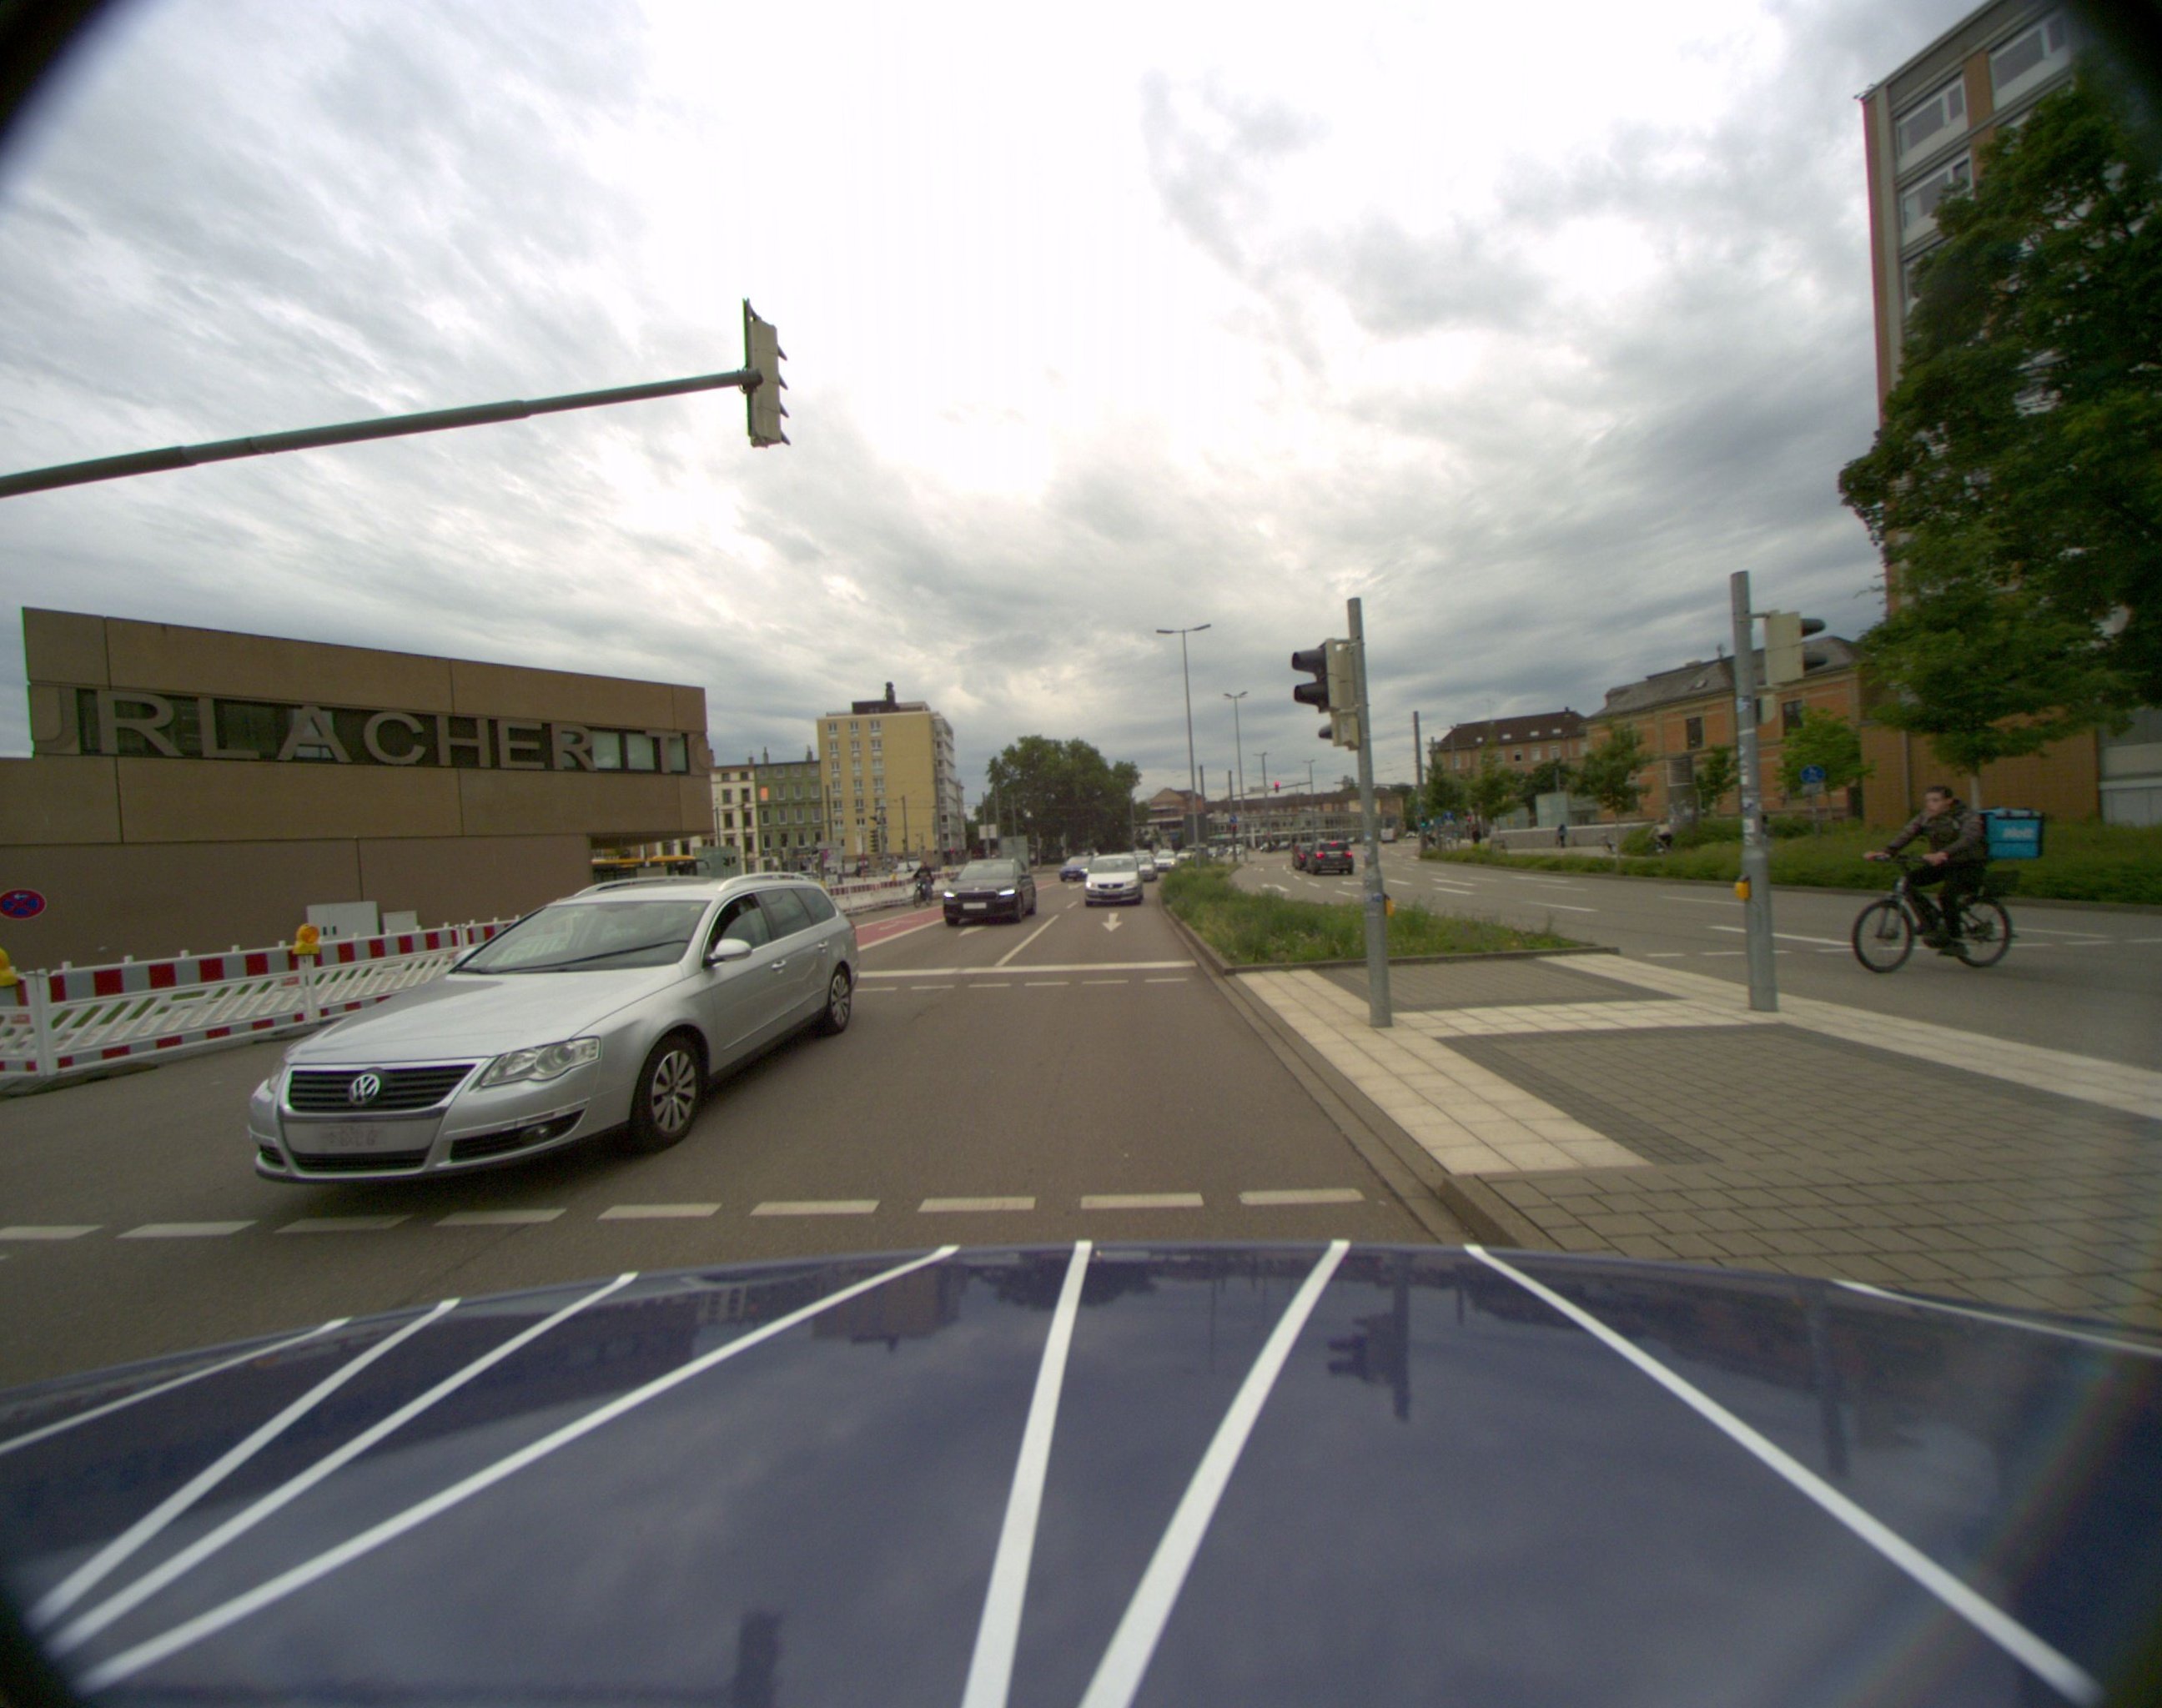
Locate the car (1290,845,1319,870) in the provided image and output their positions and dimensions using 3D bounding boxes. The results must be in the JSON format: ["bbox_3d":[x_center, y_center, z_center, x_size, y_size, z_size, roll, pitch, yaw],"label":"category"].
[{"bbox_3d":[14.784,0.200,50.362,1.621,1.506,3.668,-2,0,13],"label":"car"}]

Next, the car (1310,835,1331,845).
[{"bbox_3d":[45.852,-2.740,145.600,2.368,1.744,5.138,-3,0,34],"label":"car"}]

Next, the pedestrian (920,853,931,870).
[{"bbox_3d":[-16.751,0.787,81.826,0.789,1.747,1.047,-3,1,-23],"label":"pedestrian"}]

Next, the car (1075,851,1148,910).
[{"bbox_3d":[1.094,0.776,24.679,1.862,1.609,5.064,-3,0,7],"label":"car"}]

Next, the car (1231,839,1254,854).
[{"bbox_3d":[23.502,-1.061,110.443,1.995,2.002,4.007,-3,0,31],"label":"car"}]

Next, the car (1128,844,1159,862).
[{"bbox_3d":[5.975,-0.085,72.117,1.996,1.499,4.004,-3,0,18],"label":"car"}]

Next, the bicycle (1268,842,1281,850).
[{"bbox_3d":[26.695,-1.117,104.891,1.614,1.064,0.527,-3,1,-9],"label":"bicycle"}]

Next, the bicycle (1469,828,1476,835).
[{"bbox_3d":[61.841,-3.581,120.062,0.753,1.024,2.401,-3,0,30],"label":"bicycle"}]

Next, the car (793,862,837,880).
[{"bbox_3d":[-29.565,1.899,84.538,3.997,1.740,2.000,-4,1,1],"label":"car"}]

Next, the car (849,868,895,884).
[{"bbox_3d":[-23.110,2.417,84.211,4.442,1.477,2.000,-4,1,1],"label":"car"}]

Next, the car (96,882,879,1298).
[{"bbox_3d":[-3.064,1.067,5.428,1.724,1.474,4.629,-2,0,3],"label":"car"}]

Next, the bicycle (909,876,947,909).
[{"bbox_3d":[-5.799,1.447,28.907,0.626,1.049,2.127,-3,1,9],"label":"bicycle"}]

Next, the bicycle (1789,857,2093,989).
[{"bbox_3d":[8.442,0.666,7.550,1.904,1.152,0.792,-3,1,9],"label":"bicycle"}]

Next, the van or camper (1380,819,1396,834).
[{"bbox_3d":[52.513,-4.689,129.935,2.281,2.513,5.581,-2,0,24],"label":"van or camper"}]

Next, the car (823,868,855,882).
[{"bbox_3d":[-30.918,2.709,97.031,3.728,1.573,1.895,-3,1,35],"label":"car"}]

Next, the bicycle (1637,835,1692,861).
[{"bbox_3d":[21.311,-0.221,27.797,0.716,0.877,1.884,-4,1,7],"label":"bicycle"}]

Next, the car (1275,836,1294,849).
[{"bbox_3d":[35.164,-1.926,130.997,1.995,2.002,4.007,-3,0,31],"label":"car"}]

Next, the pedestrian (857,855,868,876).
[{"bbox_3d":[-20.244,1.069,70.456,0.785,1.901,0.902,-4,1,-24],"label":"pedestrian"}]

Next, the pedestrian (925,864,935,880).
[{"bbox_3d":[-15.570,1.862,78.253,0.769,1.602,0.950,-4,1,-24],"label":"pedestrian"}]

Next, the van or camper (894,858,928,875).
[{"bbox_3d":[-22.166,1.586,98.860,2.176,1.967,5.453,-4,0,-38],"label":"van or camper"}]

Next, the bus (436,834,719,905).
[{"bbox_3d":[-28.196,0.704,43.608,3.018,3.249,13.066,-3,0,43],"label":"bus"}]

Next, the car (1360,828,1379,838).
[{"bbox_3d":[64.405,-4.699,169.405,2.368,2.121,5.139,-3,0,40],"label":"car"}]

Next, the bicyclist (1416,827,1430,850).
[{"bbox_3d":[25.898,-1.163,57.537,0.813,1.647,0.794,-4,2,20],"label":"bicyclist"}]

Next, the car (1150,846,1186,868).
[{"bbox_3d":[6.573,0.207,56.926,1.970,1.447,4.197,-3,0,16],"label":"car"}]

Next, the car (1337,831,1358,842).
[{"bbox_3d":[56.345,-3.707,160.465,2.368,1.899,5.139,-3,0,40],"label":"car"}]

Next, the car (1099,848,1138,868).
[{"bbox_3d":[2.939,0.279,58.747,1.767,1.362,4.428,-2,0,20],"label":"car"}]

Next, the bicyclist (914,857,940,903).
[{"bbox_3d":[-5.848,0.979,28.814,0.616,1.680,0.806,-3,0,10],"label":"bicyclist"}]

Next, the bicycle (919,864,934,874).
[{"bbox_3d":[-21.742,2.104,106.884,2.039,1.162,0.669,-3,0,-5],"label":"bicycle"}]

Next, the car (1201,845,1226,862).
[{"bbox_3d":[17.606,-0.120,100.975,1.995,2.002,4.006,-3,0,28],"label":"car"}]

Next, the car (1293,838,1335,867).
[{"bbox_3d":[13.083,-0.115,42.942,1.873,1.499,4.482,-1,1,12],"label":"car"}]

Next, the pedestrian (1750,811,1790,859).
[{"bbox_3d":[22.942,-0.620,25.307,0.562,1.532,0.755,-5,1,7],"label":"pedestrian"}]

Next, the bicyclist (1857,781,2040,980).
[{"bbox_3d":[8.542,0.251,7.531,0.832,1.833,0.793,-3,1,9],"label":"bicyclist"}]

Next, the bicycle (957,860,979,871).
[{"bbox_3d":[-15.986,1.678,107.561,2.782,1.369,0.903,-3,1,0],"label":"bicycle"}]

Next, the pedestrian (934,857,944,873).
[{"bbox_3d":[-14.542,1.171,77.803,0.785,1.593,0.895,-4,1,-24],"label":"pedestrian"}]

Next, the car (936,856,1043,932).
[{"bbox_3d":[-2.283,0.949,20.205,1.907,1.648,4.515,-3,0,4],"label":"car"}]

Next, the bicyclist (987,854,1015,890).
[{"bbox_3d":[-3.810,0.841,36.162,0.789,1.608,0.935,-5,0,26],"label":"bicyclist"}]

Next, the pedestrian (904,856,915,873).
[{"bbox_3d":[-16.304,1.004,72.212,0.785,1.634,0.902,-4,1,-24],"label":"pedestrian"}]

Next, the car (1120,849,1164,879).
[{"bbox_3d":[3.309,0.518,40.557,1.808,1.398,3.985,-3,0,11],"label":"car"}]

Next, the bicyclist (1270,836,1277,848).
[{"bbox_3d":[26.566,-1.614,104.843,0.655,1.630,0.517,-3,1,-8],"label":"bicyclist"}]

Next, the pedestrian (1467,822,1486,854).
[{"bbox_3d":[24.595,-1.002,47.254,0.820,1.969,0.659,-3,0,16],"label":"pedestrian"}]

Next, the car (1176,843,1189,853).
[{"bbox_3d":[20.429,-1.206,152.575,1.954,1.635,4.675,-4,4,13],"label":"car"}]

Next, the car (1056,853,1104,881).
[{"bbox_3d":[0.000,0.736,45.076,1.768,1.428,4.761,-3,0,12],"label":"car"}]

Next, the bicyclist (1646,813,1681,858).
[{"bbox_3d":[21.274,-0.681,27.755,0.716,1.561,0.712,-4,2,7],"label":"bicyclist"}]

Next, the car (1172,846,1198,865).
[{"bbox_3d":[12.178,0.141,88.811,1.996,2.002,4.005,-3,0,22],"label":"car"}]

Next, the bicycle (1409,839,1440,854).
[{"bbox_3d":[25.997,-0.591,57.528,2.115,1.023,0.796,-2,2,21],"label":"bicycle"}]

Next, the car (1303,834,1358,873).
[{"bbox_3d":[12.082,-0.067,37.076,1.874,1.715,4.715,-2,0,10],"label":"car"}]

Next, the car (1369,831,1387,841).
[{"bbox_3d":[68.251,-4.205,174.424,2.368,2.010,5.139,-3,0,40],"label":"car"}]

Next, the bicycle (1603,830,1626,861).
[{"bbox_3d":[26.663,-0.444,37.987,0.847,1.440,2.258,-3,0,36],"label":"bicycle"}]

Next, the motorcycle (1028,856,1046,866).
[{"bbox_3d":[-6.236,1.000,107.106,2.293,1.358,1.046,-3,1,-10],"label":"motorcycle"}]

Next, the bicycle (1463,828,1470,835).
[{"bbox_3d":[61.118,-3.618,120.465,0.835,1.024,2.401,-3,0,30],"label":"bicycle"}]

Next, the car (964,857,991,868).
[{"bbox_3d":[-16.067,1.349,117.590,4.000,1.455,1.998,-4,0,-9],"label":"car"}]

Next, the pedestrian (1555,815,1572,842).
[{"bbox_3d":[31.745,-1.674,50.023,0.748,1.723,0.687,-3,0,16],"label":"pedestrian"}]
